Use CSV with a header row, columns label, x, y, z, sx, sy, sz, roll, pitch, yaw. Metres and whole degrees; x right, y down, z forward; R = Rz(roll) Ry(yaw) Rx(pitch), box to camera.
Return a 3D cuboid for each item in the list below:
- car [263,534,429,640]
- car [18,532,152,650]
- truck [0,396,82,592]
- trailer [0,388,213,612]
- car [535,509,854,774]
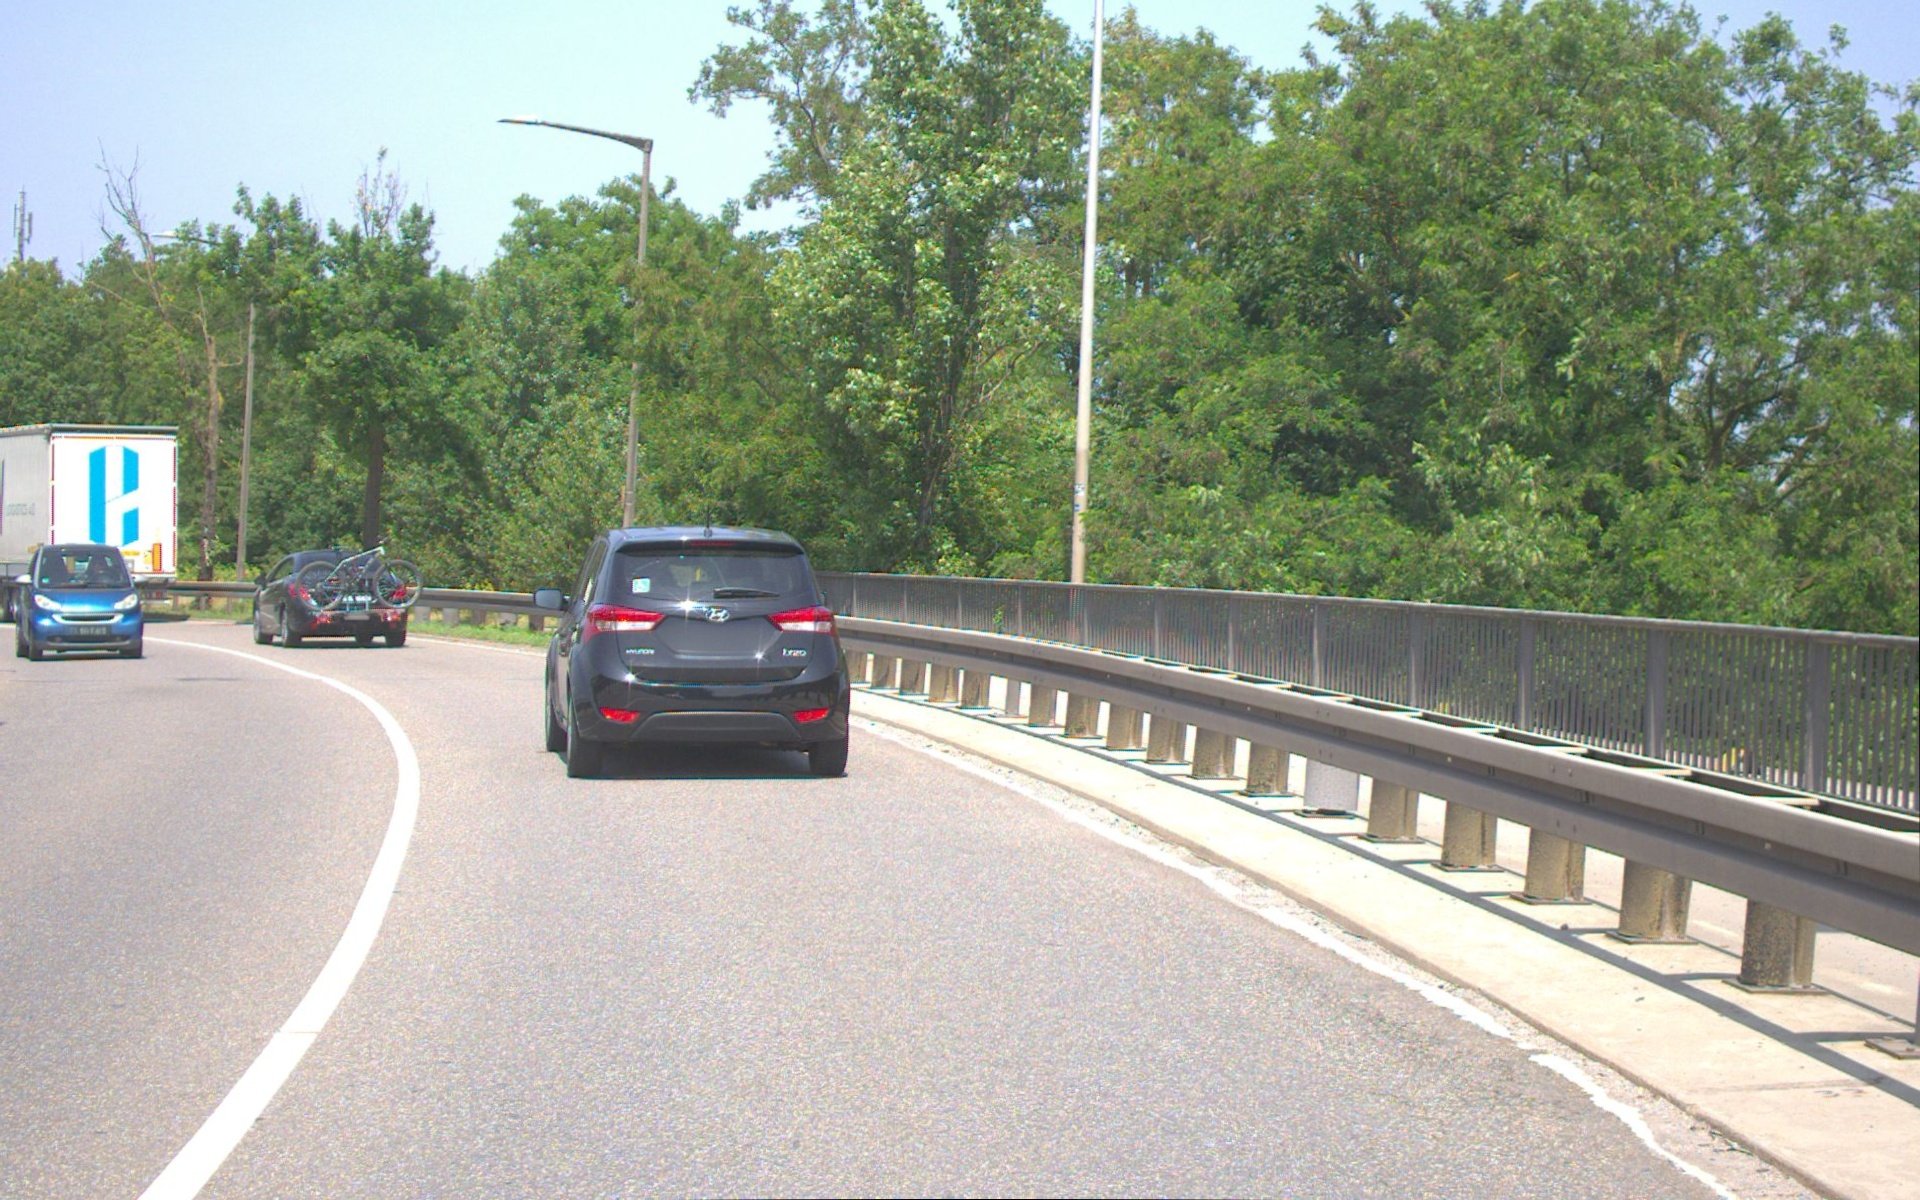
label,x,y,z,sx,sy,sz,roll,pitch,yaw
car,-9.008,-0.212,50.236,2.011,1.424,3.778,0,2,-16
car,-11.755,-0.144,46.119,1.596,1.481,2.749,0,2,-17
truck,-23.012,-2.498,80.232,3.572,4.425,6.516,0,2,-27
trailer,-19.204,-2.168,73.056,3.569,4.369,11.443,0,2,-28
car,-1.829,0.208,22.870,1.921,1.568,3.893,0,2,-6
